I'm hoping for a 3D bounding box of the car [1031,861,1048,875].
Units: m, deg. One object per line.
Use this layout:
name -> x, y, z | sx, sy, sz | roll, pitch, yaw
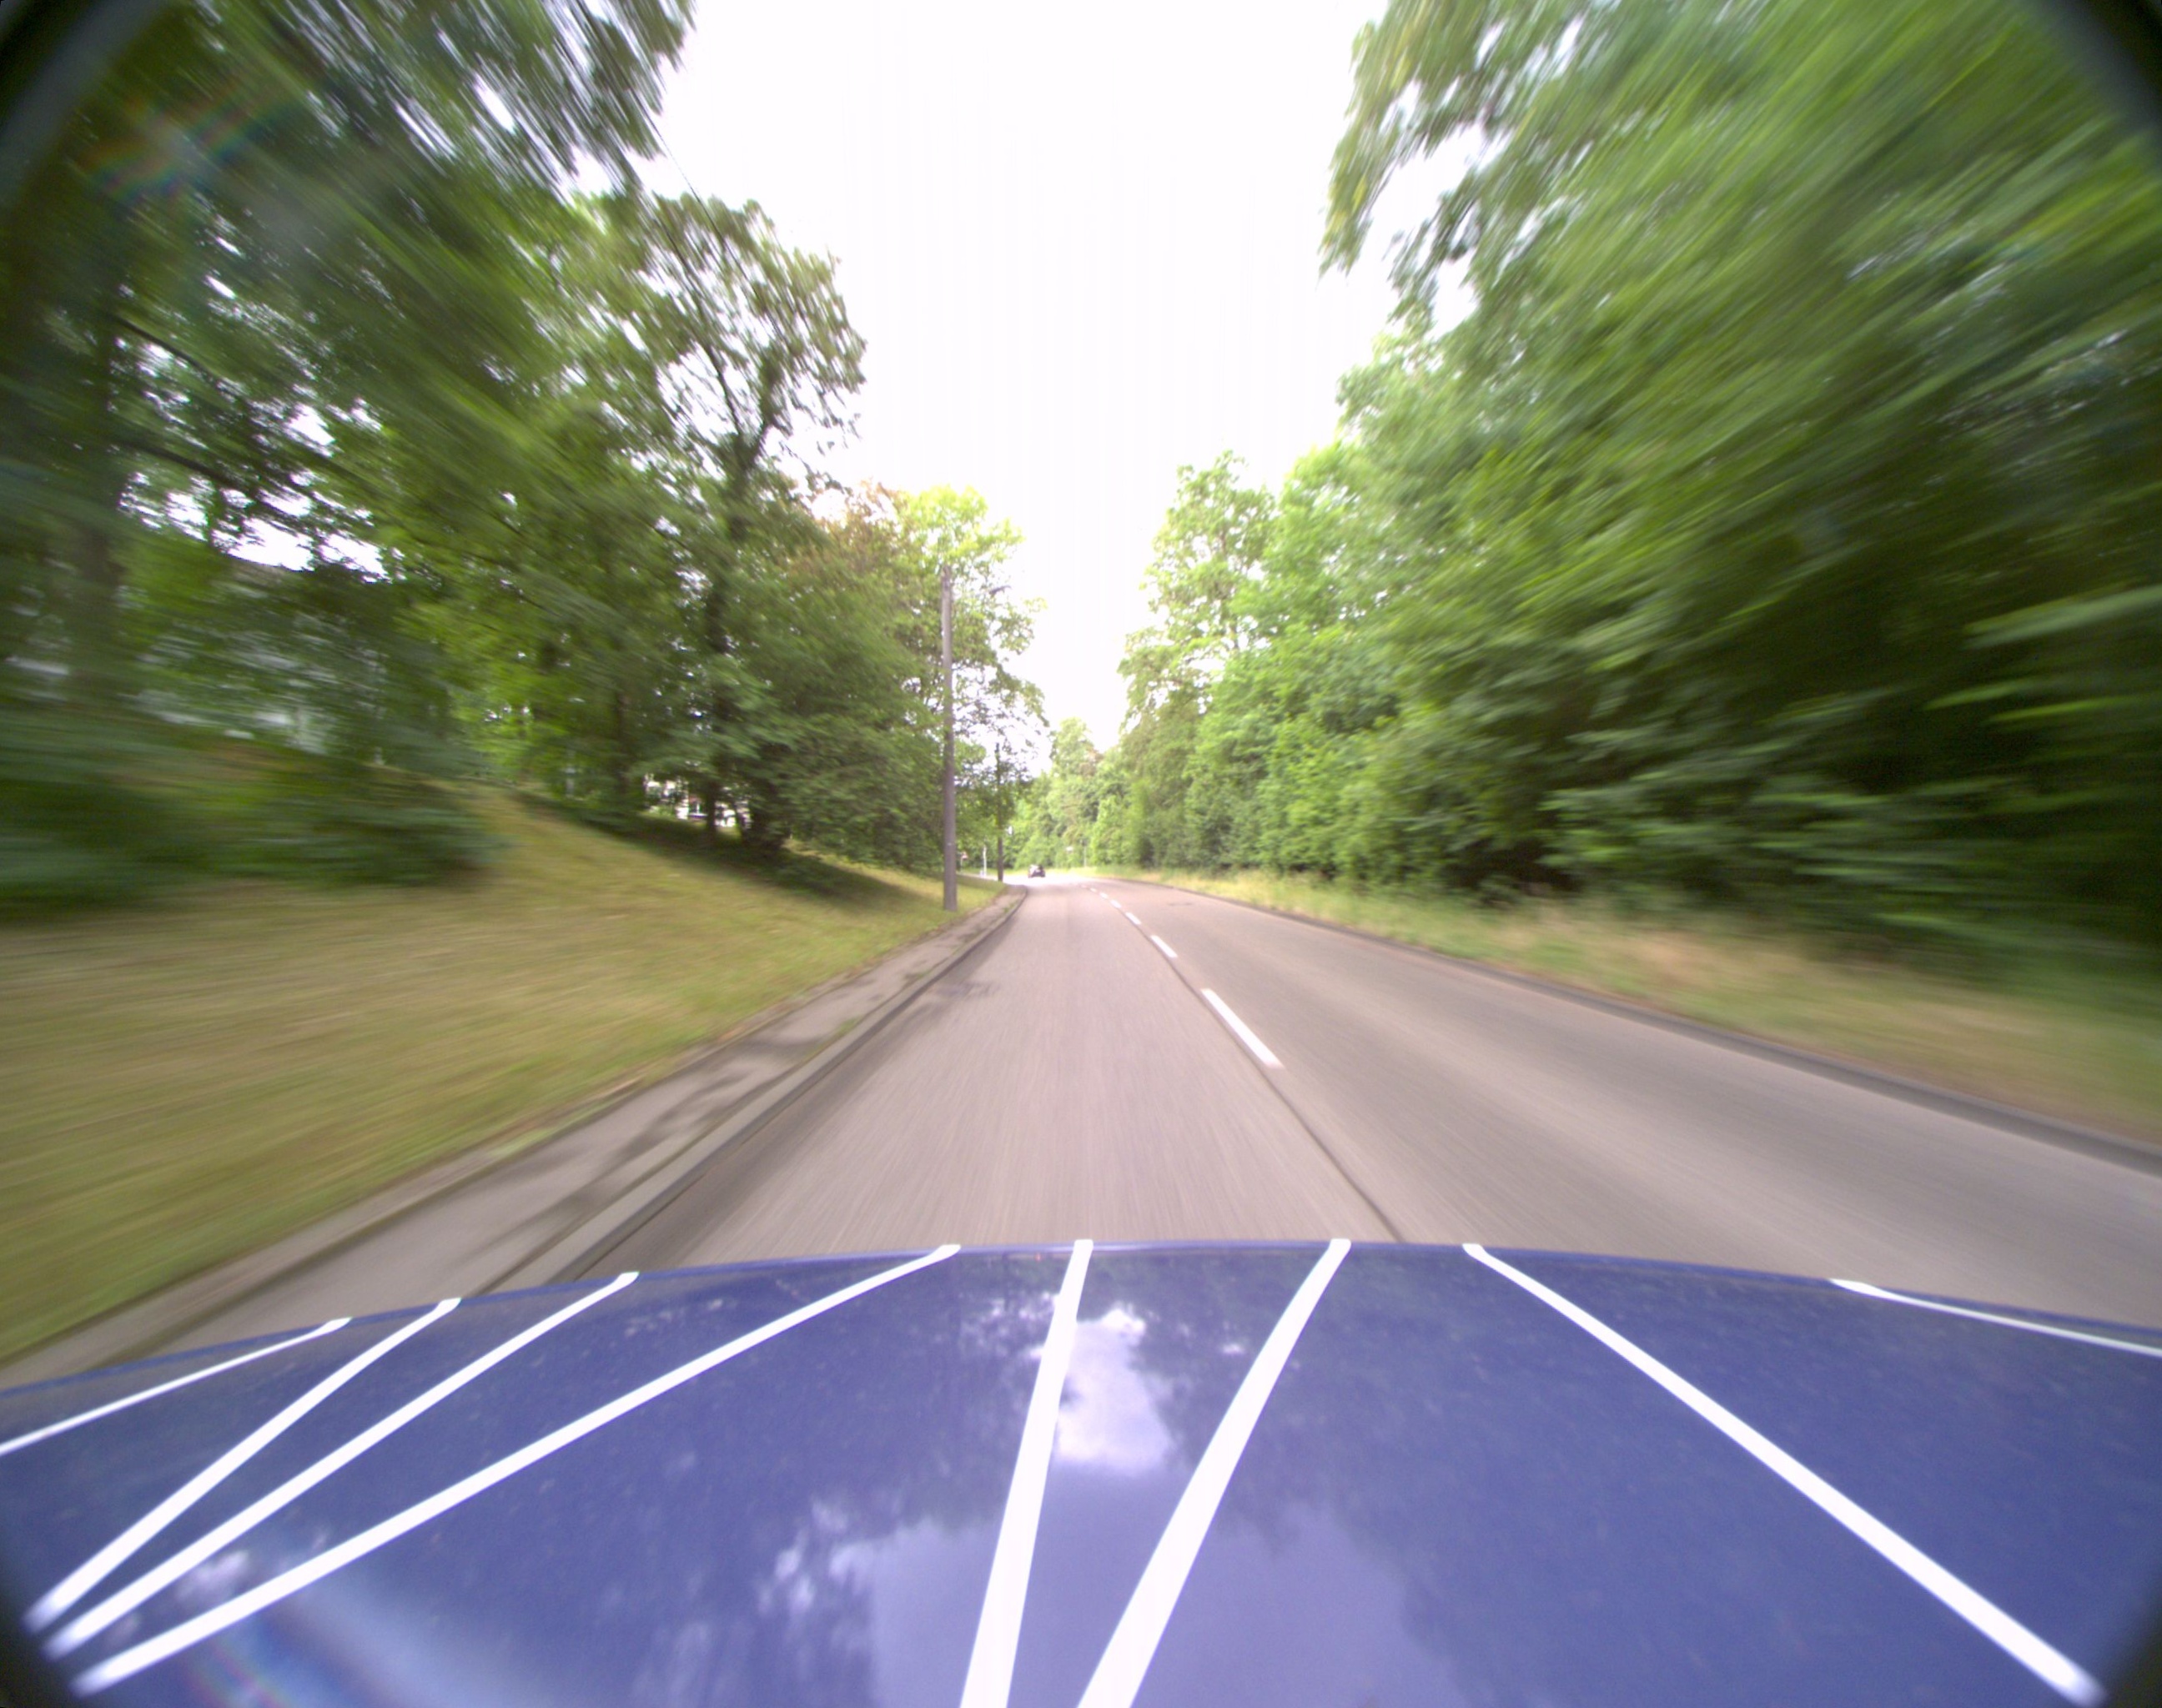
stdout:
car -> -4.663, 1.612, 85.351 | 1.668, 1.486, 3.312 | -1, -1, -8
